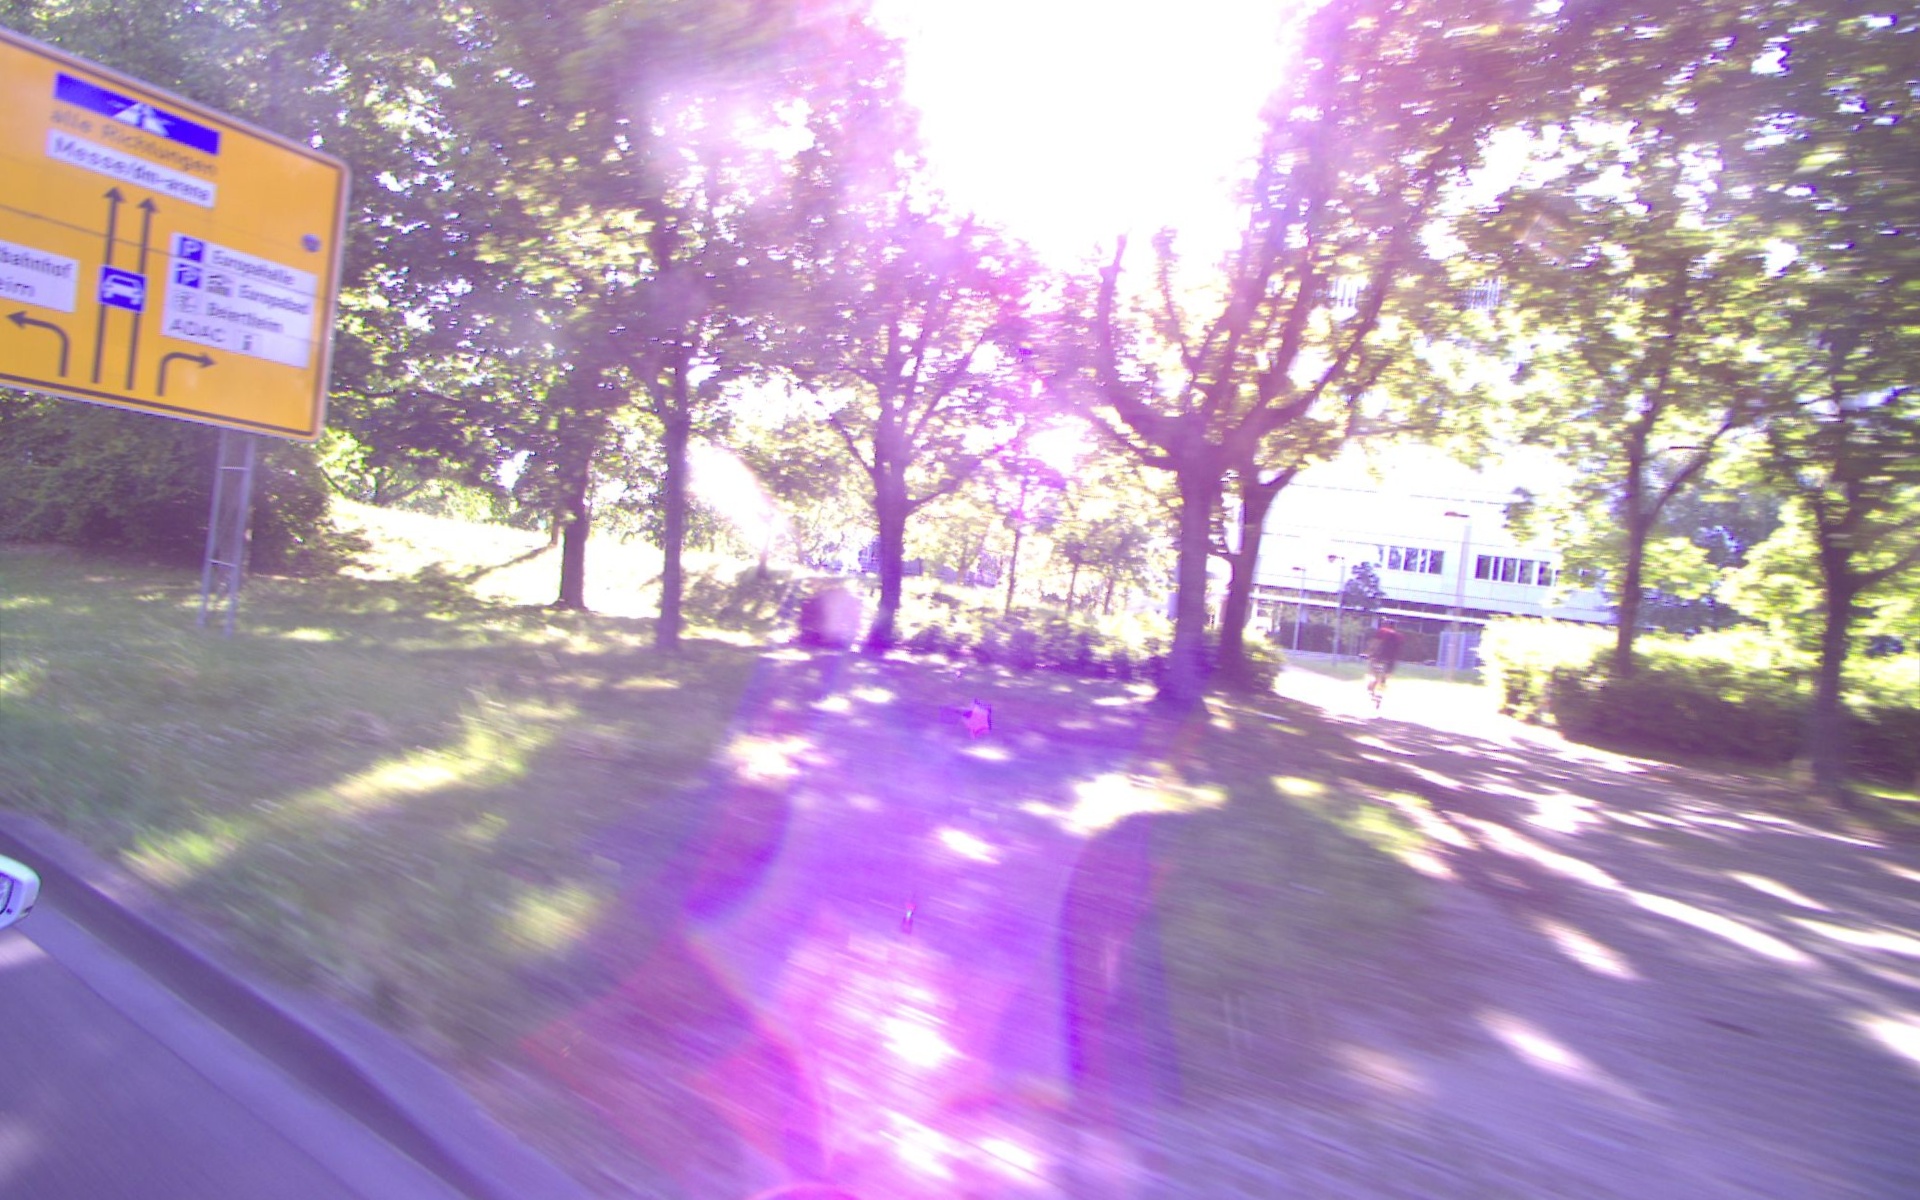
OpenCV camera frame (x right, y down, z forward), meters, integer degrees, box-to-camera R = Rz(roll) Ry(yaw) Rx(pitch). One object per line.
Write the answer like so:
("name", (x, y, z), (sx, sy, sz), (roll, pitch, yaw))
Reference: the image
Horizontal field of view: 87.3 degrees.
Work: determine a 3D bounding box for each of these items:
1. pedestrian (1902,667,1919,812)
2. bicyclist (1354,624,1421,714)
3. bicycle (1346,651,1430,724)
("pedestrian", (11.324, 1.622, 11.358), (0.832, 1.643, 0.546), (7, 1, 41))
("bicyclist", (7.570, 1.209, 17.857), (0.777, 1.469, 0.845), (6, 1, 9))
("bicycle", (7.533, 1.509, 17.832), (0.781, 1.060, 2.143), (6, 0, 9))
